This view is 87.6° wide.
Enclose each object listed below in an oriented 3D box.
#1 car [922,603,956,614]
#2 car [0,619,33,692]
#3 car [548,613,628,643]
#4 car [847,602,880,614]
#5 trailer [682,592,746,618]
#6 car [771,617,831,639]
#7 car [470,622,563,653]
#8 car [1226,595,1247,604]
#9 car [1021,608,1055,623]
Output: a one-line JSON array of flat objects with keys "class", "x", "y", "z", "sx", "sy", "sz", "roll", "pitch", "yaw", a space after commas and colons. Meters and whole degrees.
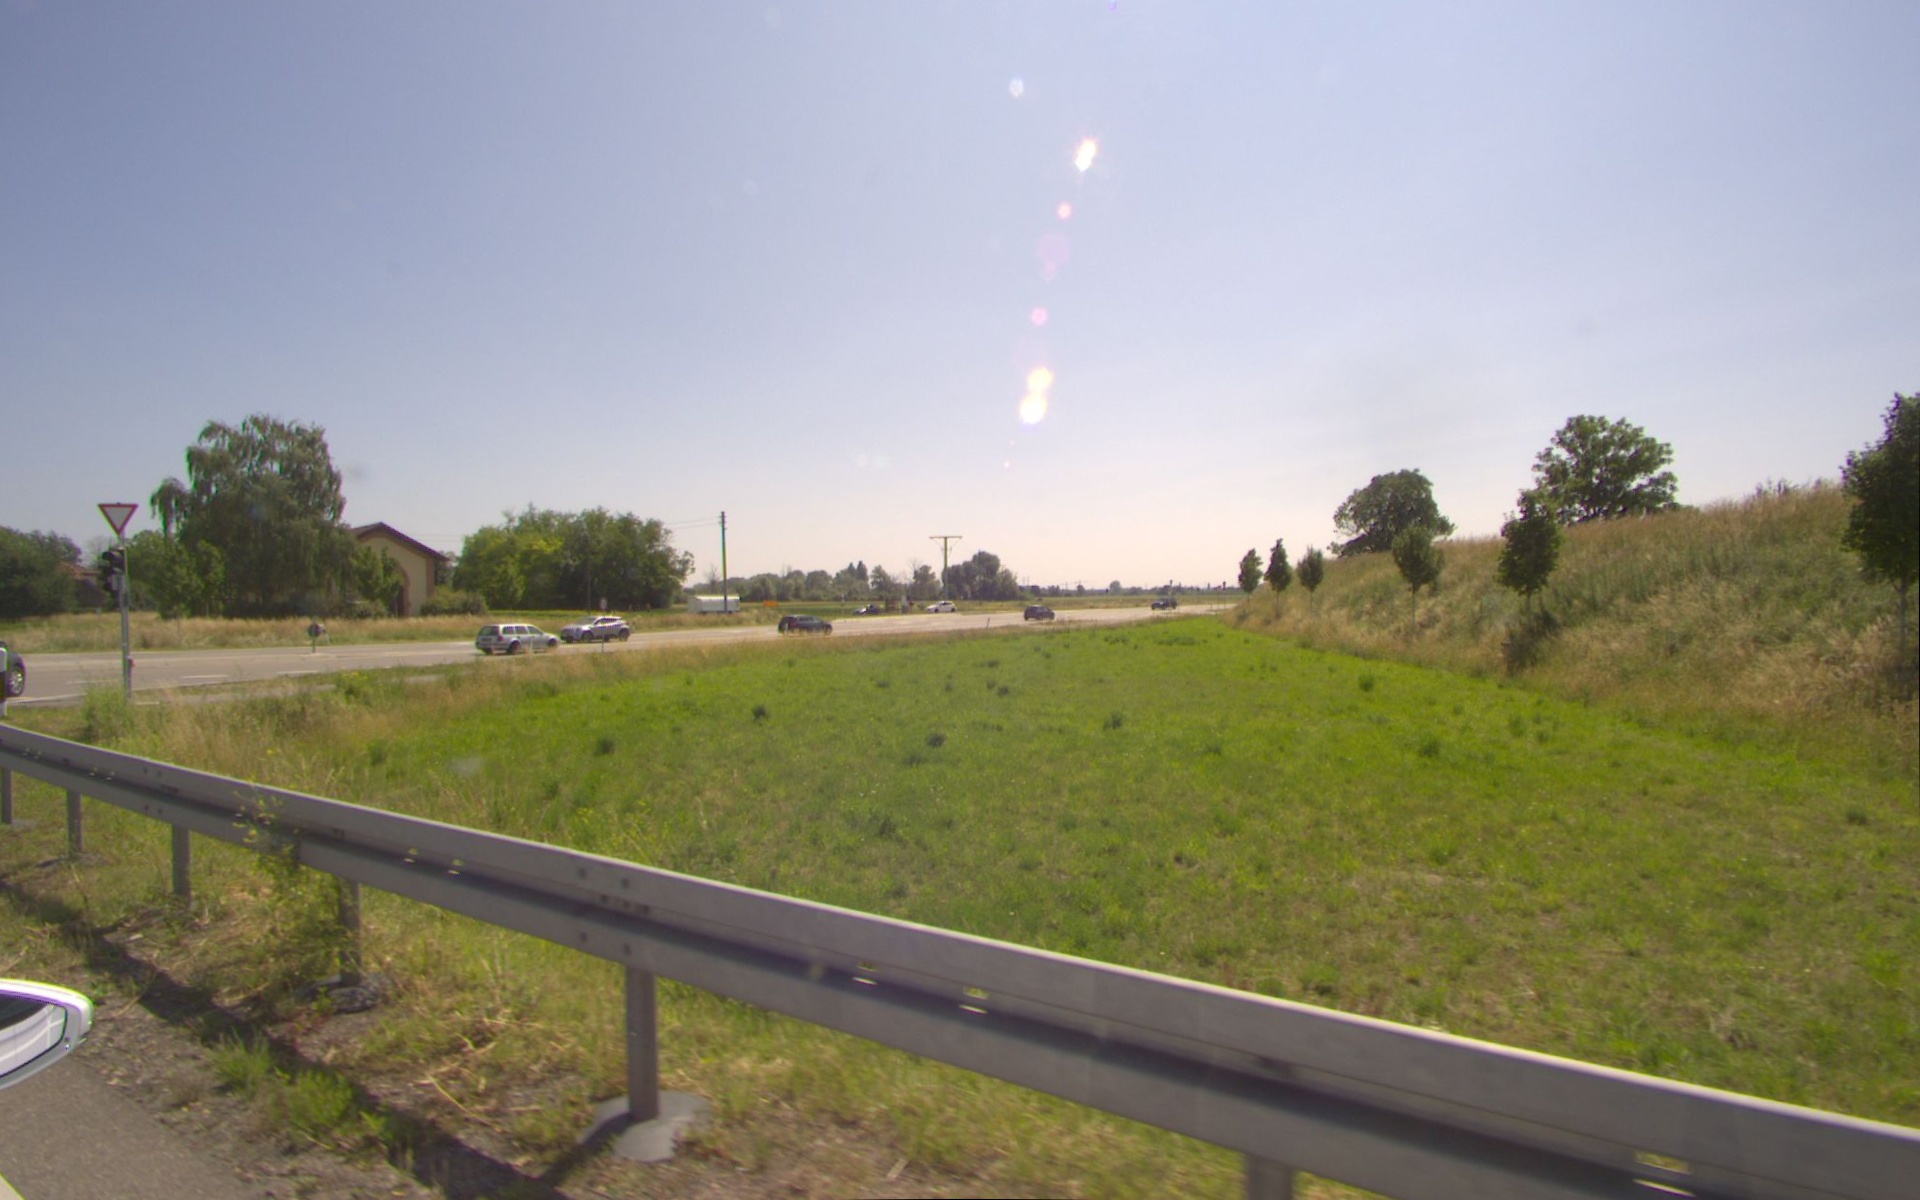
[{"class": "car", "x": -2.679, "y": 1.059, "z": 128.030, "sx": 3.981, "sy": 1.350, "sz": 1.687, "roll": 1, "pitch": 1, "yaw": -31}, {"class": "car", "x": -22.193, "y": 1.235, "z": 21.646, "sx": 1.911, "sy": 1.637, "sz": 4.362, "roll": 0, "pitch": -1, "yaw": -25}, {"class": "car", "x": -21.961, "y": 1.637, "z": 59.309, "sx": 1.840, "sy": 1.565, "sz": 4.538, "roll": 1, "pitch": 1, "yaw": 23}, {"class": "car", "x": -11.309, "y": 0.943, "z": 117.795, "sx": 1.658, "sy": 1.406, "sz": 3.810, "roll": 2, "pitch": 1, "yaw": 39}, {"class": "trailer", "x": -25.354, "y": 0.478, "z": 103.418, "sx": 2.650, "sy": 2.489, "sz": 6.341, "roll": 1, "pitch": 1, "yaw": 35}, {"class": "car", "x": -10.996, "y": 1.914, "z": 69.485, "sx": 1.779, "sy": 1.495, "sz": 4.394, "roll": -1, "pitch": -1, "yaw": 30}, {"class": "car", "x": -21.448, "y": 1.792, "z": 48.565, "sx": 1.774, "sy": 1.447, "sz": 4.085, "roll": -1, "pitch": -1, "yaw": 20}, {"class": "car", "x": 43.747, "y": -0.040, "z": 158.482, "sx": 2.057, "sy": 1.344, "sz": 4.391, "roll": -1, "pitch": -2, "yaw": 32}, {"class": "car", "x": 7.811, "y": 1.554, "z": 99.800, "sx": 1.781, "sy": 1.541, "sz": 3.861, "roll": -1, "pitch": -1, "yaw": 34}]
